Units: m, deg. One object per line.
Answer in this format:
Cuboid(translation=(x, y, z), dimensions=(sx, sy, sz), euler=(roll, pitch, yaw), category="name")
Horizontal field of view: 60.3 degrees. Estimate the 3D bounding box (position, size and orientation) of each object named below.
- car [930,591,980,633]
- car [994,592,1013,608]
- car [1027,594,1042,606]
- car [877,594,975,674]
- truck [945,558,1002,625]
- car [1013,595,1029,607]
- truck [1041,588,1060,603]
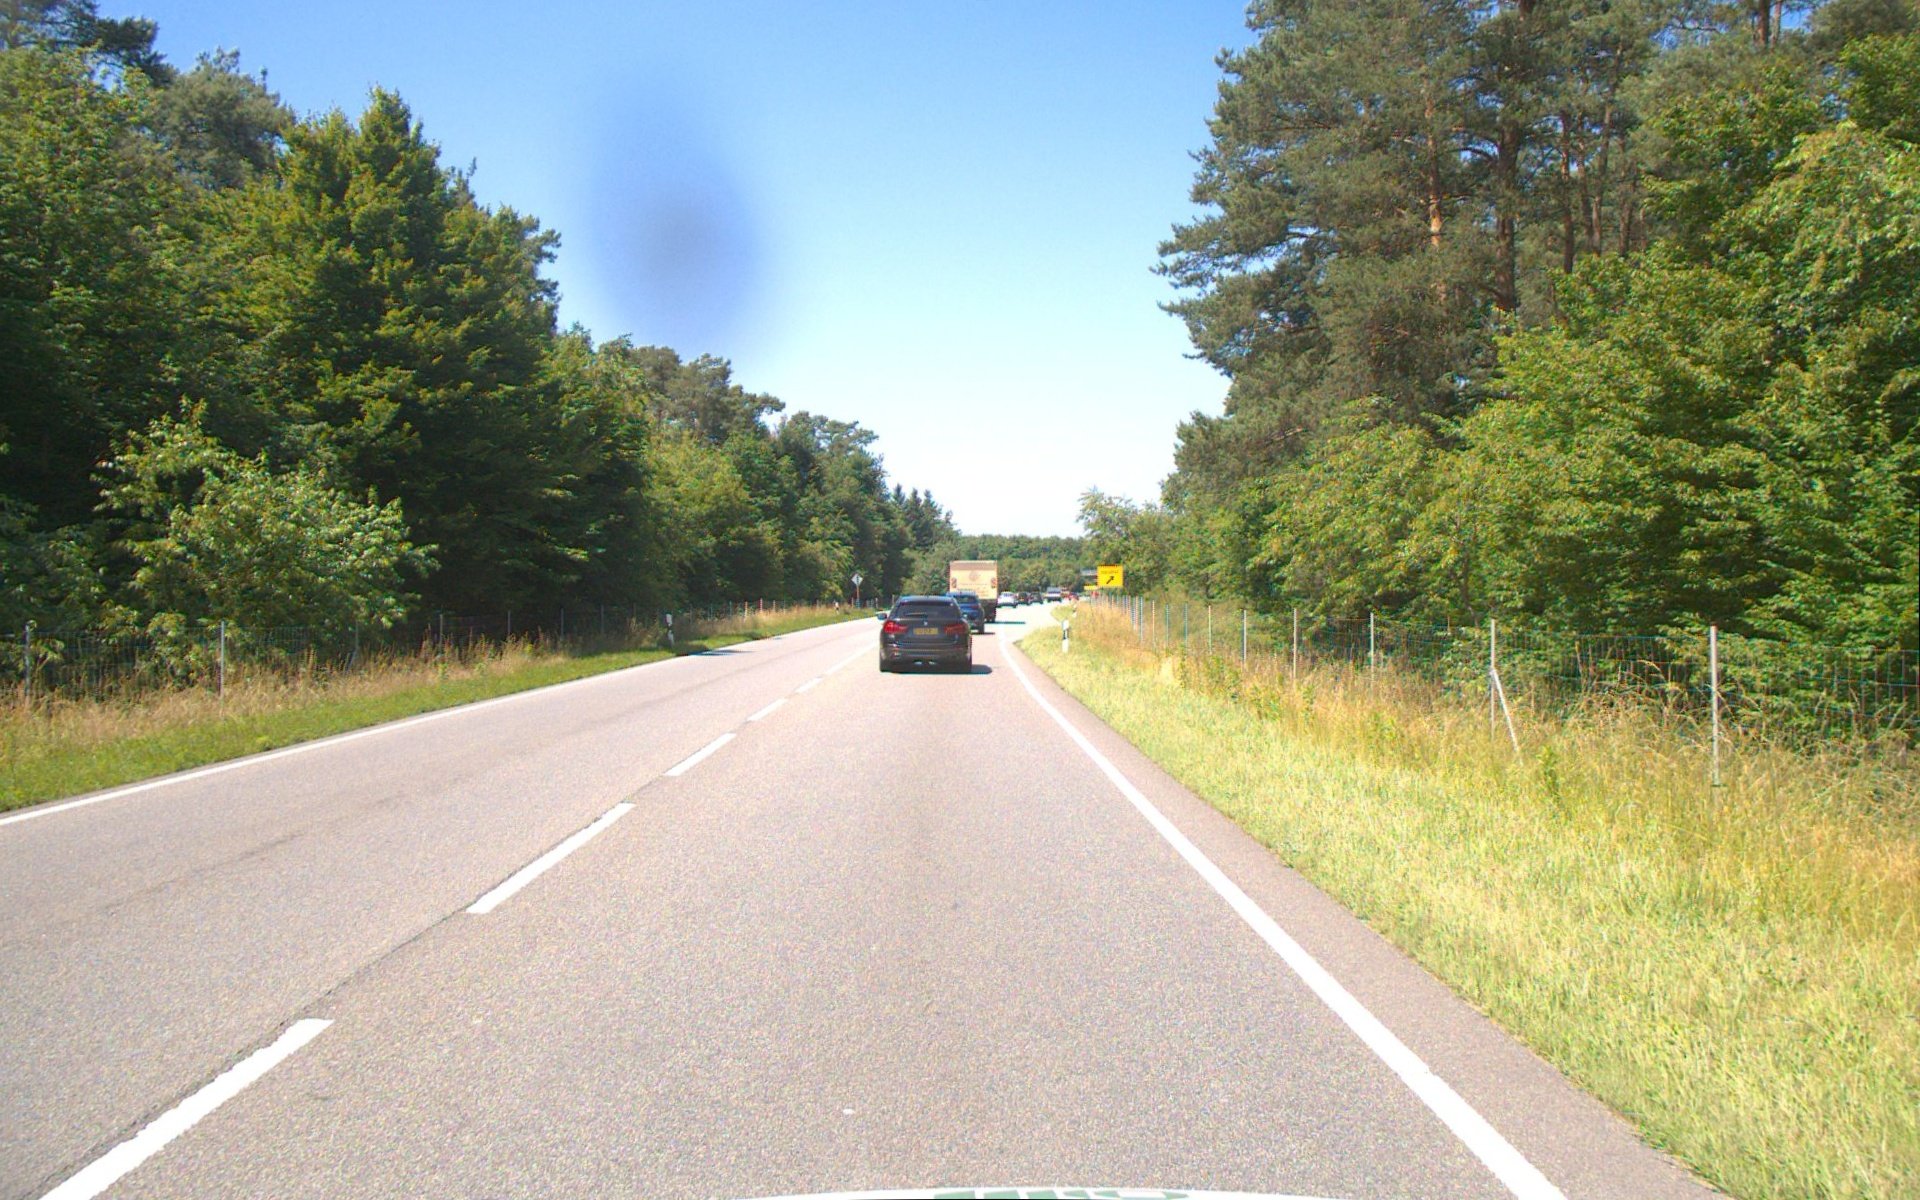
Cuboid(translation=(-0.206, 0.435, 65.435), dimensions=(1.907, 1.568, 4.000), euler=(-1, 0, 0), category="car")
Cuboid(translation=(4.585, 0.018, 174.410), dimensions=(1.825, 1.633, 3.999), euler=(0, 0, -1), category="car")
Cuboid(translation=(10.230, 0.010, 227.315), dimensions=(1.951, 1.665, 4.002), euler=(-1, 0, 4), category="car")
Cuboid(translation=(-0.744, 0.645, 33.514), dimensions=(1.784, 1.496, 3.997), euler=(-1, 0, -4), category="car")
Cuboid(translation=(0.797, -0.474, 89.125), dimensions=(2.904, 3.447, 6.440), euler=(0, 0, 2), category="truck")
Cuboid(translation=(7.590, 0.069, 204.812), dimensions=(1.952, 1.445, 4.002), euler=(1, 0, 3), category="car")
Cuboid(translation=(14.094, -0.717, 258.814), dimensions=(2.512, 2.241, 4.972), euler=(0, 0, -2), category="truck")
